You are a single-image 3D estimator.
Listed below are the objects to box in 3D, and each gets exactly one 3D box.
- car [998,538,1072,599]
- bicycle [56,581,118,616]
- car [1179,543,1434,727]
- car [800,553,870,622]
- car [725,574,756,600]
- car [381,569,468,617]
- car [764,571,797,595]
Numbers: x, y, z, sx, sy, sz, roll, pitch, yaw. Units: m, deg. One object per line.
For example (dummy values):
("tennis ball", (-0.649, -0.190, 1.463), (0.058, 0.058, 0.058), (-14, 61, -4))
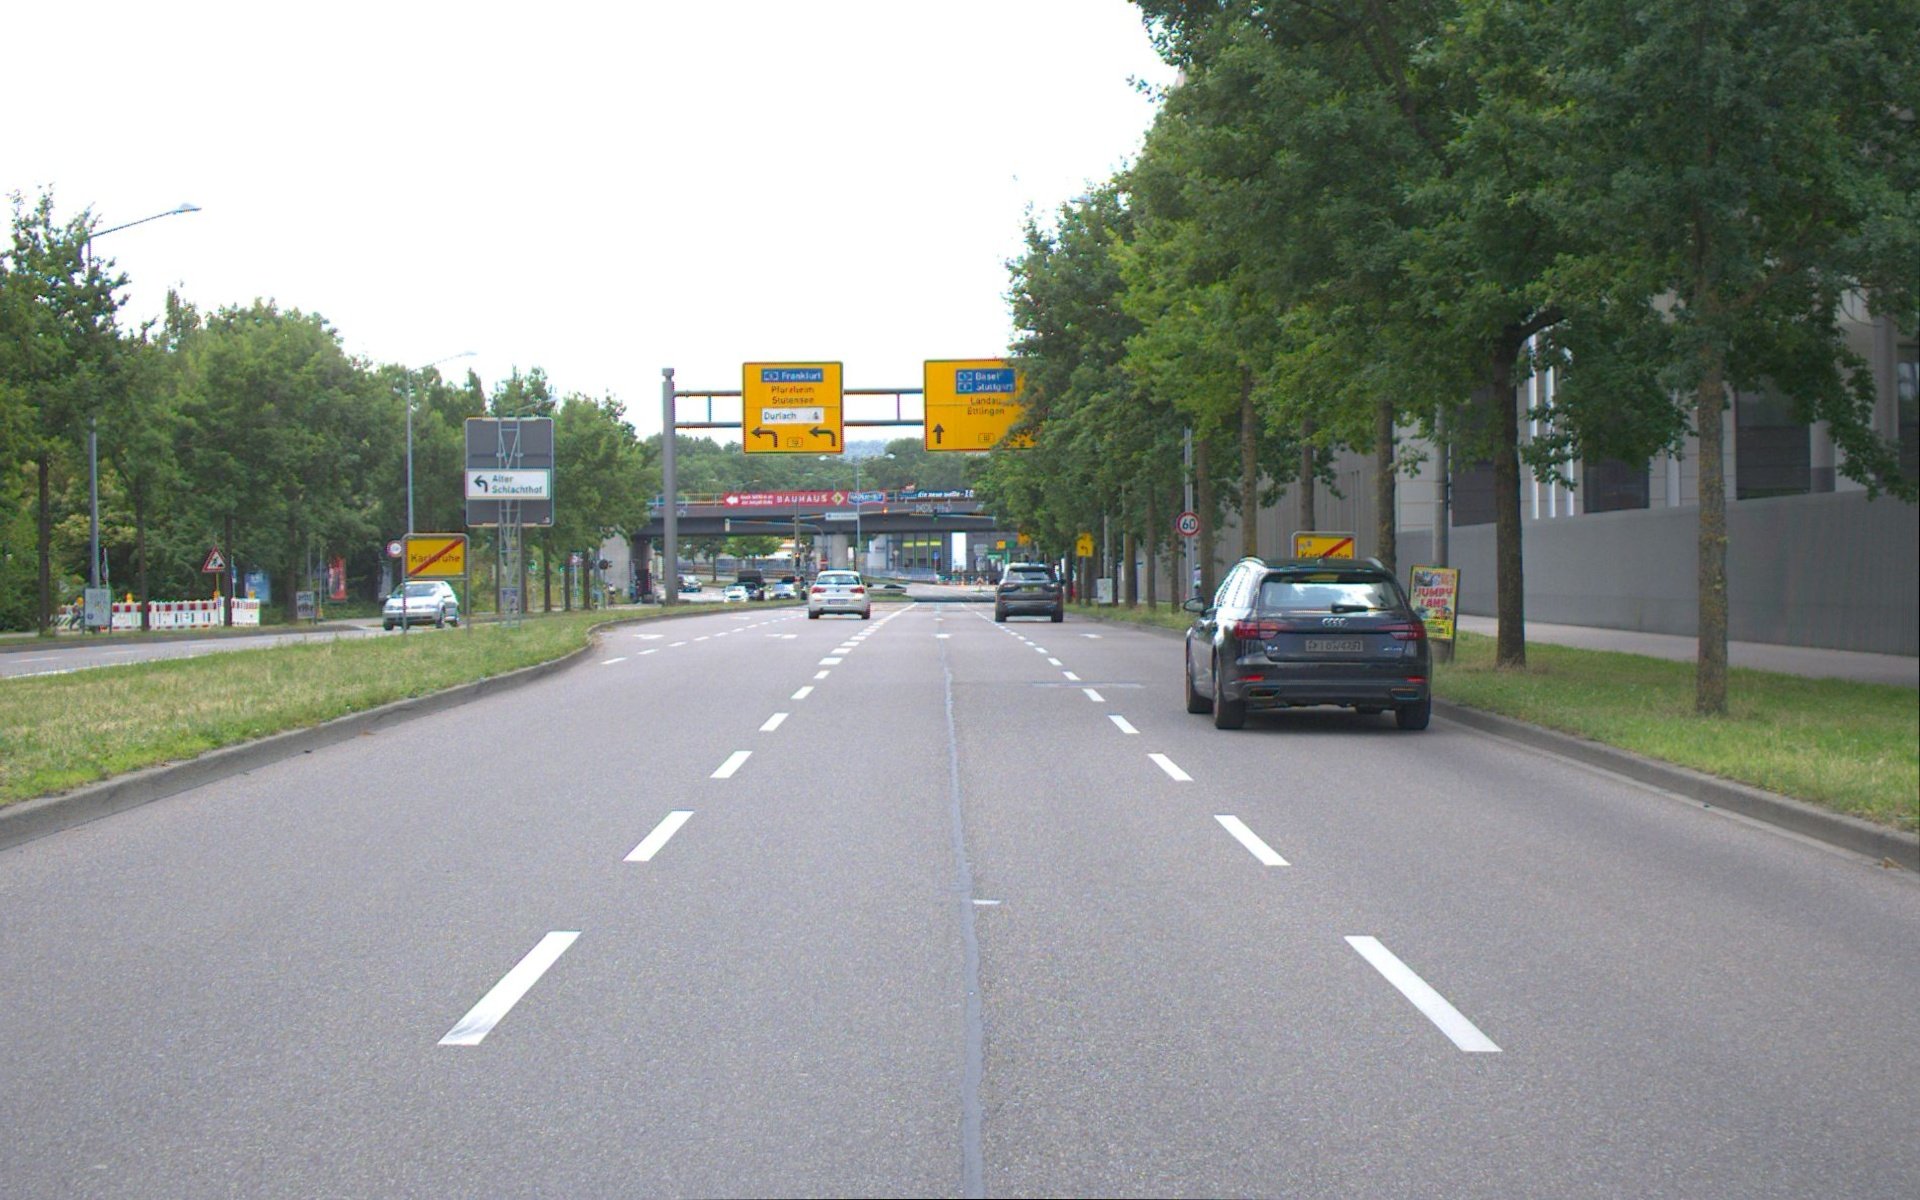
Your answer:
("car", (2.113, -0.906, 96.014), (1.993, 1.620, 4.309), (-1, 1, 2))
("bicycle", (-26.747, -0.042, 105.302), (0.881, 1.056, 2.363), (-1, 0, -40))
("car", (2.908, 0.268, 29.616), (1.684, 1.458, 4.000), (1, 0, -1))
("car", (-3.743, -0.385, 102.395), (1.993, 2.007, 4.000), (1, 0, -3))
("car", (-15.323, -0.905, 240.371), (1.993, 1.777, 4.000), (1, -1, -1))
("car", (-15.742, -0.217, 101.190), (1.640, 1.324, 4.381), (-1, 1, 3))
("car", (-12.347, -1.157, 236.224), (1.993, 1.612, 4.000), (-1, 0, 1))
